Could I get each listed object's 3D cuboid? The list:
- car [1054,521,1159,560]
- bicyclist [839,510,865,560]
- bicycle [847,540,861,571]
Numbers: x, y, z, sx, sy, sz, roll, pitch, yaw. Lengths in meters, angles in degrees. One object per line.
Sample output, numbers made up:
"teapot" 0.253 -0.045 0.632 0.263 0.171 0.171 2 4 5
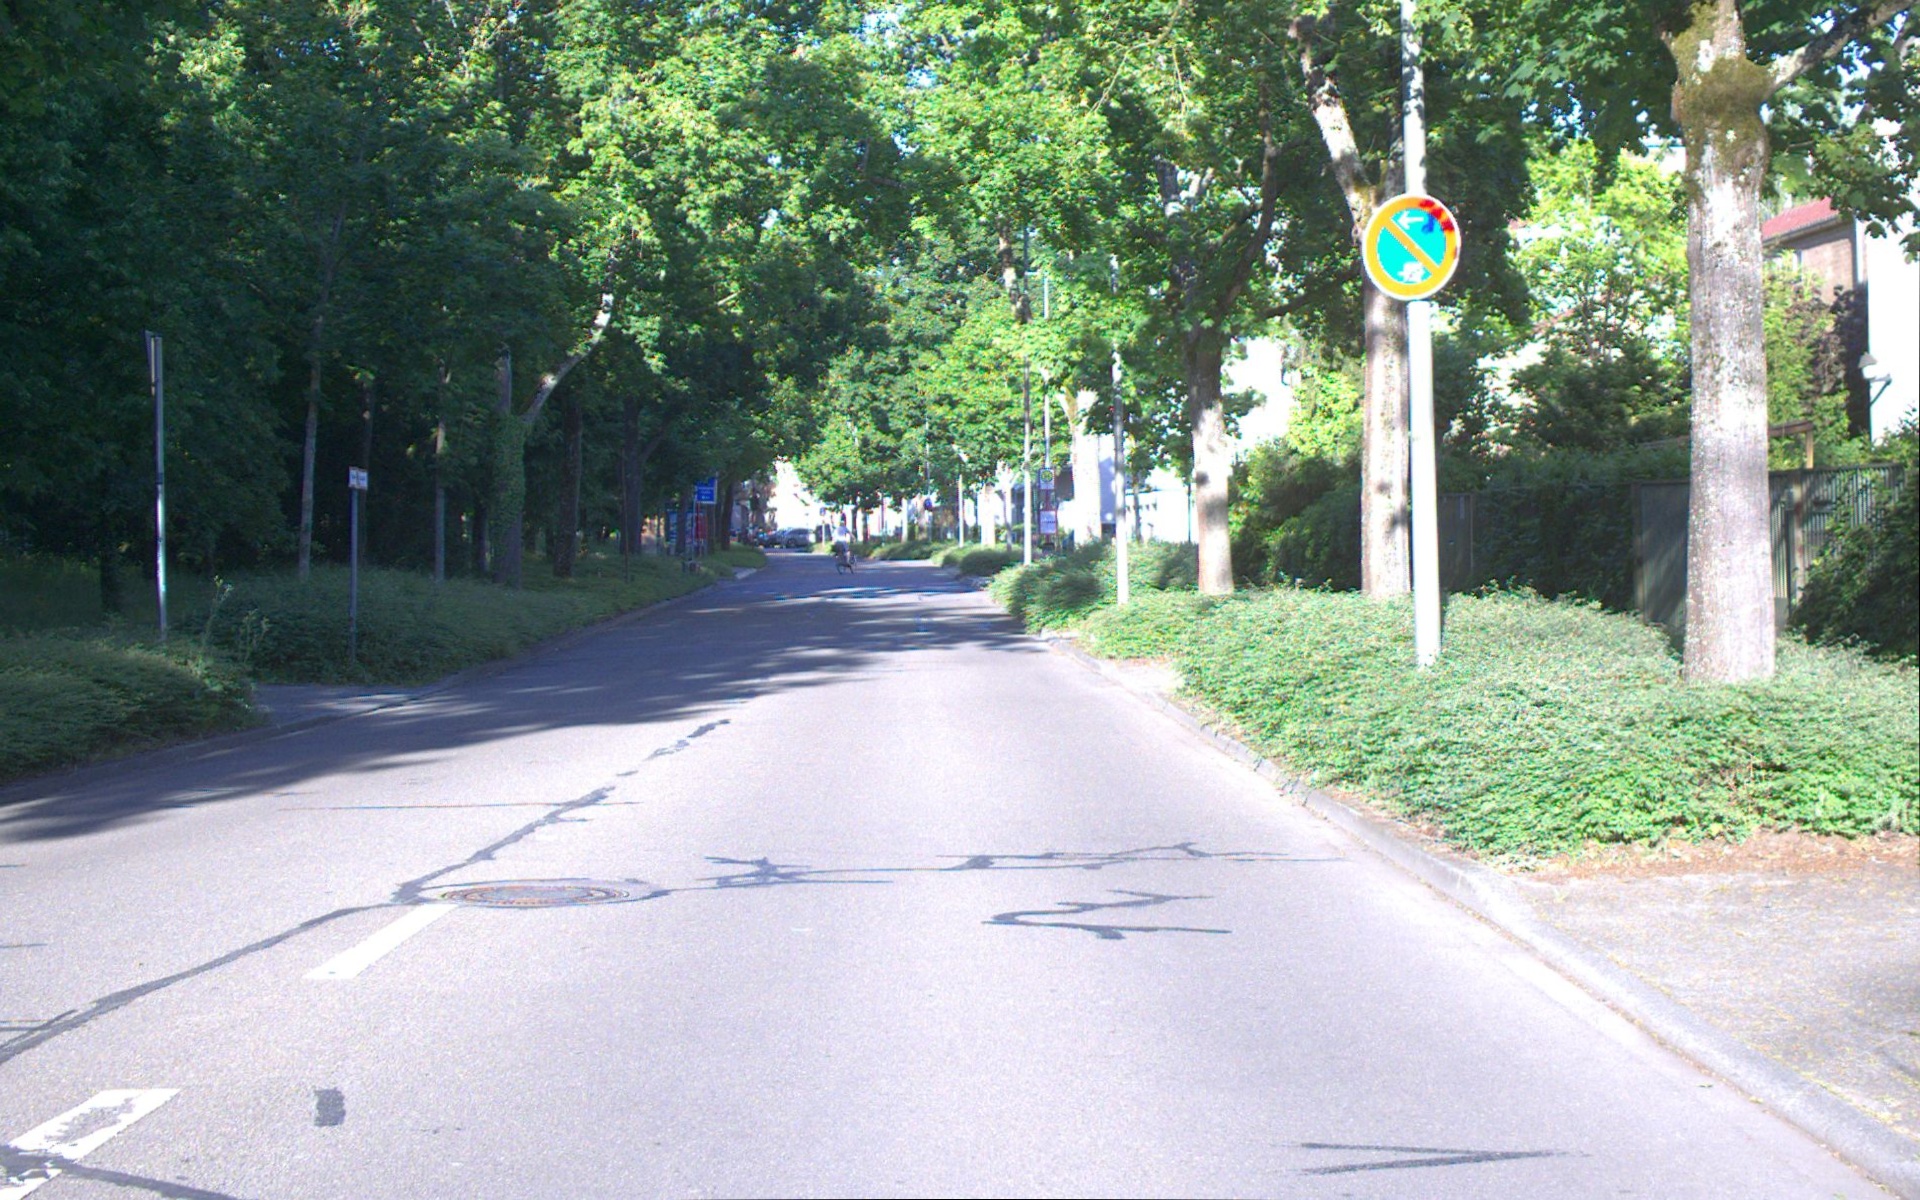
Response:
"car" 6.309 -2.562 147.493 4.351 1.349 2.143 3 5 5
"bicyclist" -3.615 -2.187 115.284 0.867 1.635 1.115 1 2 -1
"bicycle" -3.556 -1.495 115.358 0.439 0.975 1.662 -1 2 -1
